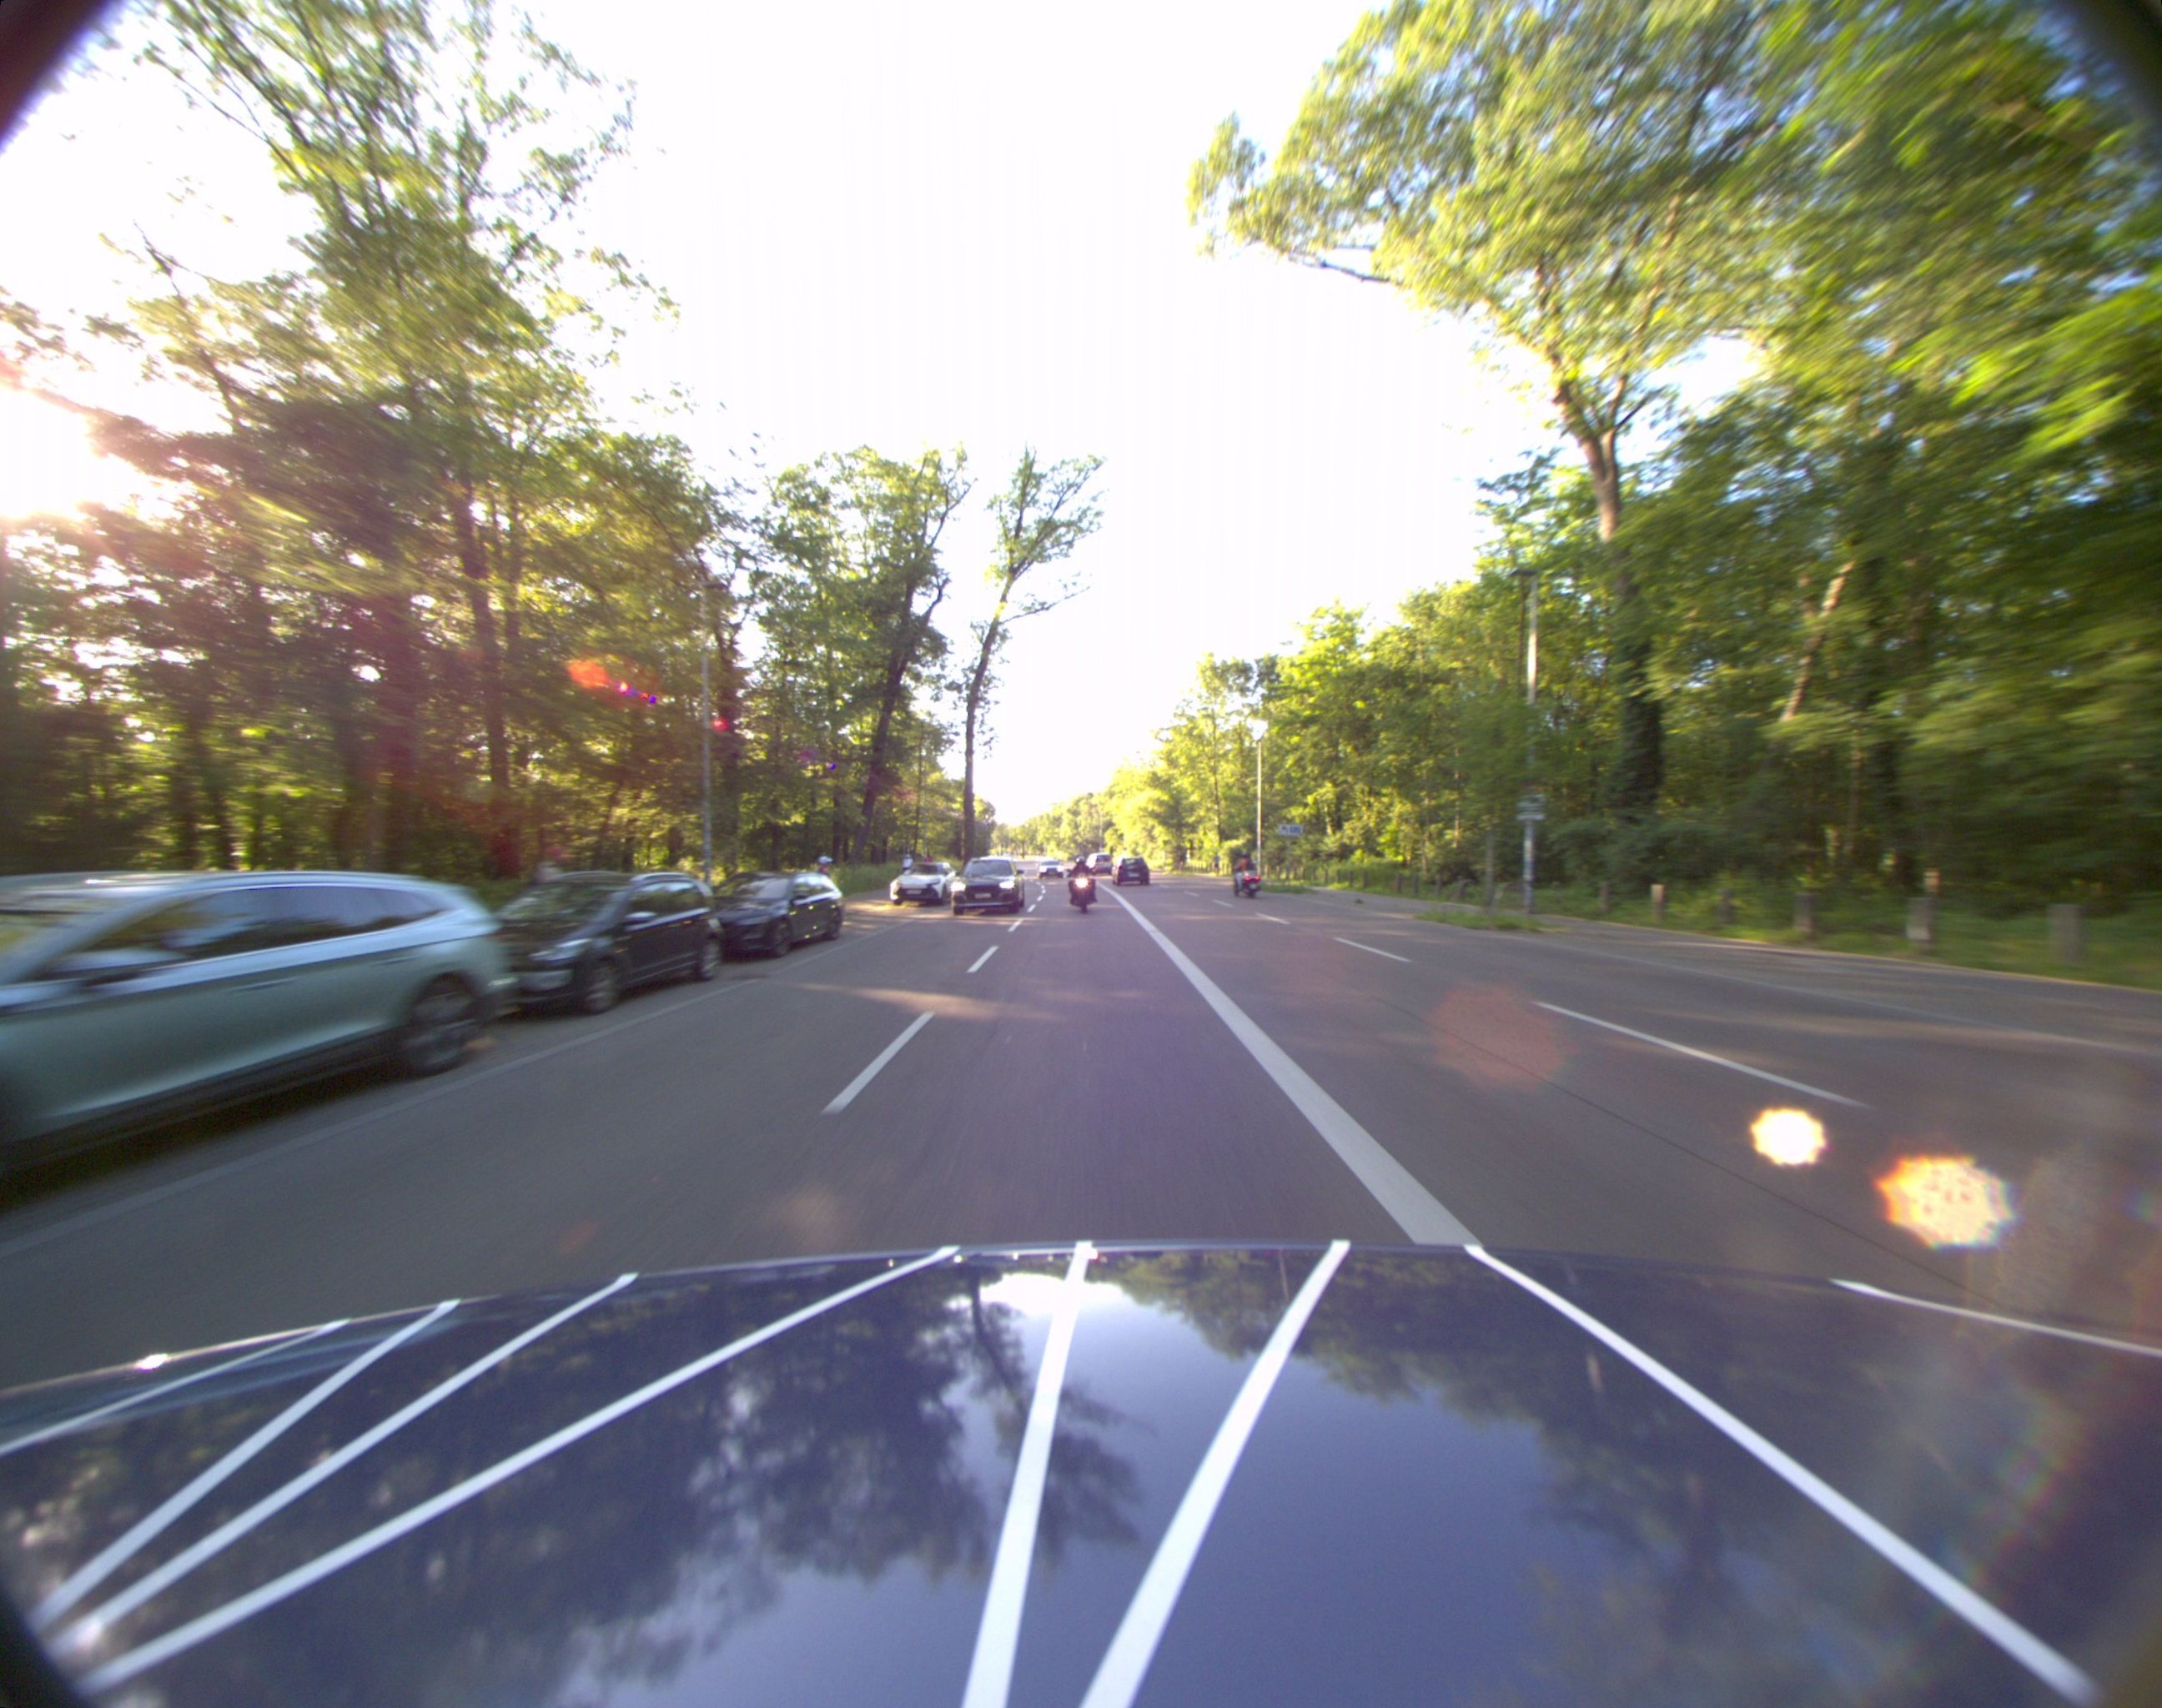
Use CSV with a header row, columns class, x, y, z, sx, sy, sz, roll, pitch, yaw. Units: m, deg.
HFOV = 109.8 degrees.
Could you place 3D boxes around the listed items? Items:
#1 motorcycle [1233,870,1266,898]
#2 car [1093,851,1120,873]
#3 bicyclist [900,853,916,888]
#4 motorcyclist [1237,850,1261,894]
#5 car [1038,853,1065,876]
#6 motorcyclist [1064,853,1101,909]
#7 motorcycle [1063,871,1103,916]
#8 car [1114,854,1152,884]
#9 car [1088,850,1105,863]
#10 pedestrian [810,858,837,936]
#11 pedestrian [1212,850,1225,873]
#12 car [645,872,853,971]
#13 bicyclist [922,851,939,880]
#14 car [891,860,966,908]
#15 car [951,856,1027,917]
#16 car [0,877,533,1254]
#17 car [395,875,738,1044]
class,x,y,z,sx,sy,sz,roll,pitch,yaw
motorcycle,5.916,1.043,26.735,0.670,0.899,2.166,-1,0,0
car,2.022,0.618,62.615,1.911,1.746,4.799,0,0,-2
bicyclist,-8.518,0.799,37.366,0.597,1.705,0.834,0,1,-1
motorcyclist,5.920,0.624,26.817,0.658,1.531,0.904,-1,1,0
car,-2.287,0.780,59.744,1.999,1.761,4.231,0,0,-1
motorcyclist,0.028,0.765,21.869,0.953,1.523,1.073,-2,0,-3
motorcycle,0.007,1.107,22.308,0.956,1.098,3.338,-3,0,-3
car,2.755,0.777,41.048,1.810,1.536,4.089,-1,0,0
car,2.144,0.323,106.424,1.999,1.649,4.447,-1,0,-2
pedestrian,-5.980,0.979,17.657,0.513,1.746,0.735,0,1,-13
pedestrian,10.510,0.568,57.912,0.773,1.758,0.737,1,1,-6
car,-5.946,1.129,14.304,1.857,1.426,4.534,0,0,1
bicyclist,-8.253,0.605,41.666,0.703,1.552,0.876,1,1,0
car,-5.601,1.044,28.415,1.811,1.551,4.456,2,0,1
car,-2.706,0.912,23.193,1.861,1.608,3.999,-1,1,-1
car,-5.891,1.031,4.483,1.857,1.575,4.722,2,0,0
car,-5.943,1.092,9.422,1.599,1.513,3.909,1,0,0
